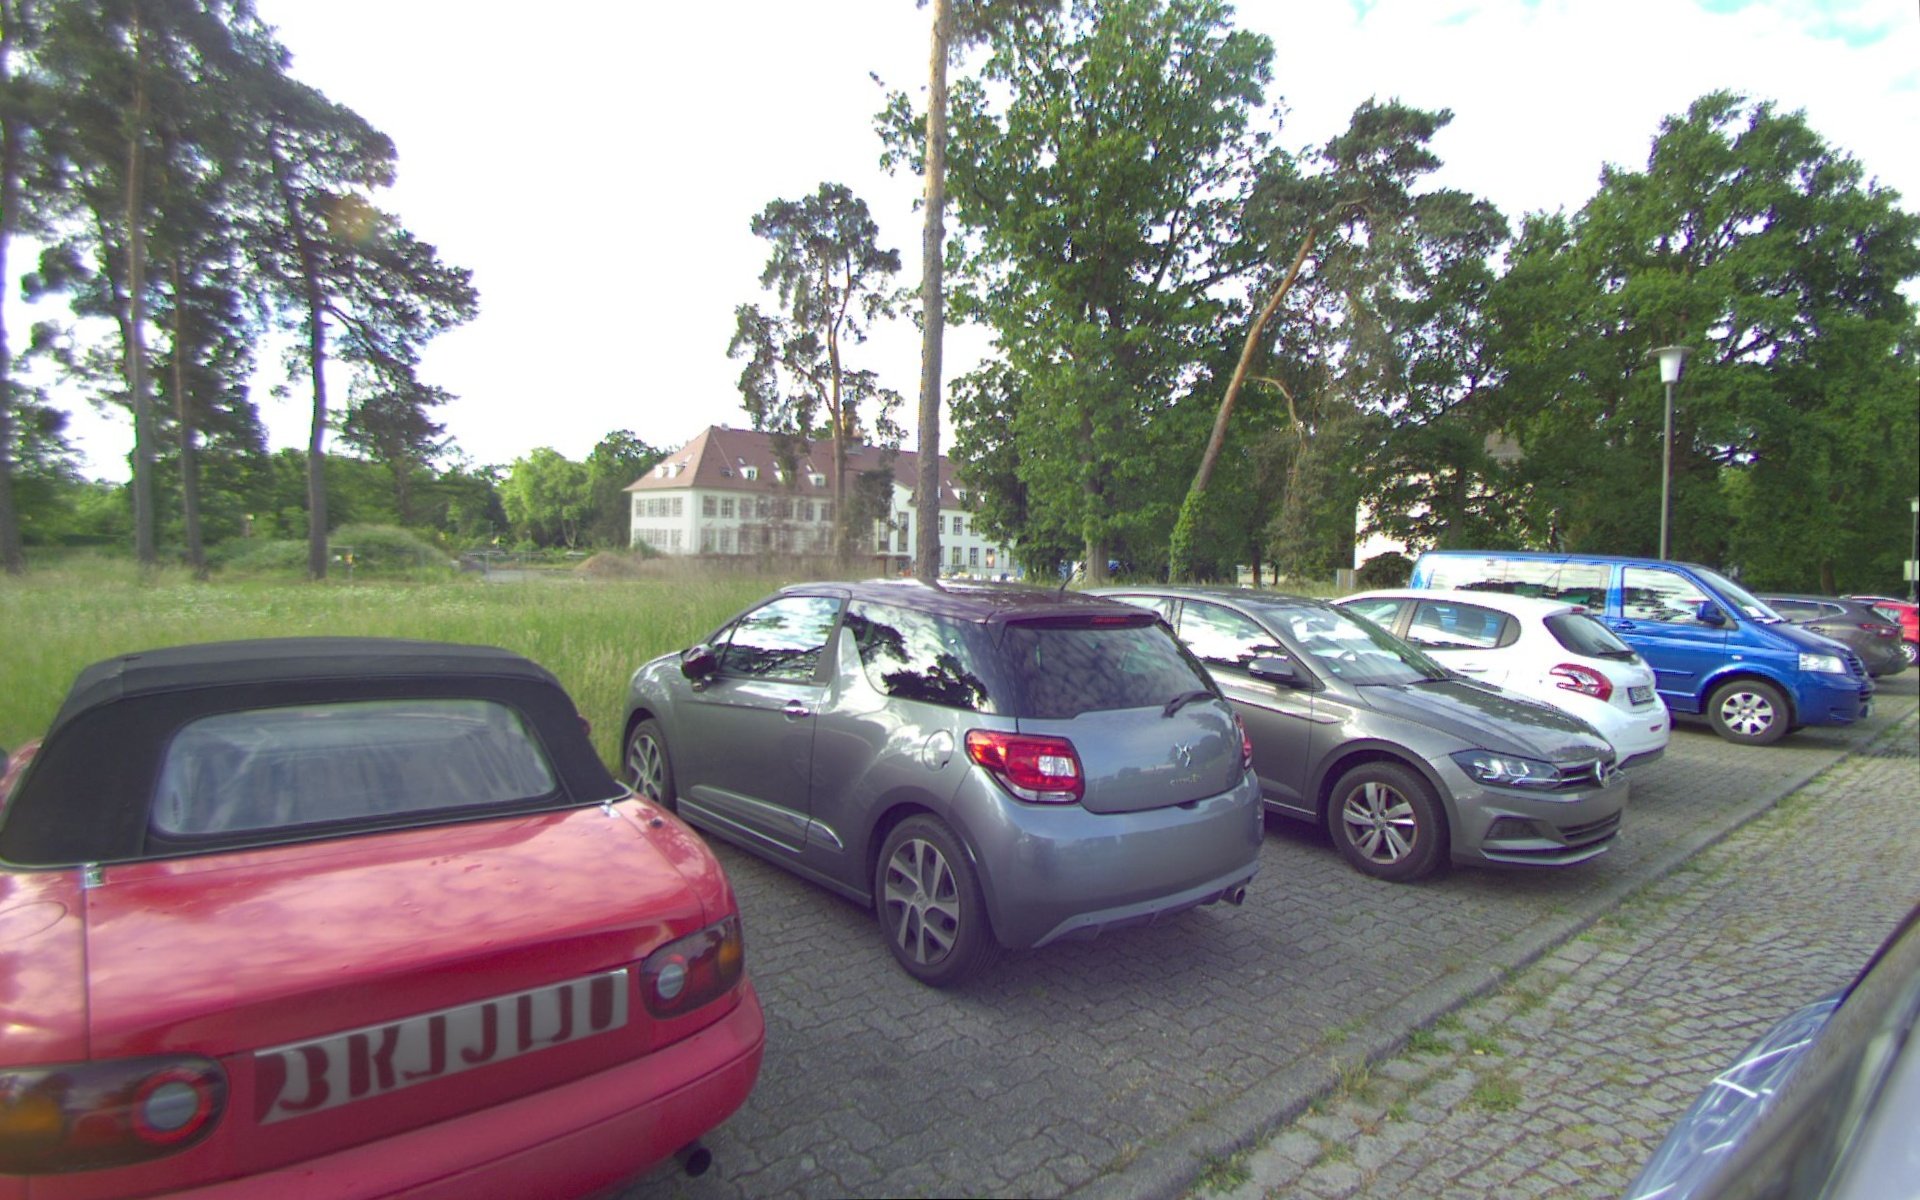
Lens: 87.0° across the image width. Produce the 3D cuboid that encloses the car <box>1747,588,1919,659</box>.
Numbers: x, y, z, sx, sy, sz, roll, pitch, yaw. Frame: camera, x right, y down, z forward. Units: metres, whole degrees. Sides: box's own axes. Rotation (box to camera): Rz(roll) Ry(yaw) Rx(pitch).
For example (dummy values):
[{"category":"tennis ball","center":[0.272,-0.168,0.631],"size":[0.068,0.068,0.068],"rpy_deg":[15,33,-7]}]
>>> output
[{"category":"car","center":[21.880,0.543,24.856],"size":[1.555,1.543,3.831],"rpy_deg":[0,2,-44]}]

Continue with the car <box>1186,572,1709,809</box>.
[{"category":"car","center":[3.969,0.572,8.773],"size":[1.553,1.517,3.762],"rpy_deg":[0,2,-39]}]

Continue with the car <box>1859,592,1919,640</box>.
[{"category":"car","center":[33.319,0.581,34.406],"size":[1.642,1.548,3.841],"rpy_deg":[0,2,-36]}]

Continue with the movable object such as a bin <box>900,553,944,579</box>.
[{"category":"movable object such as a bin","center":[-4.346,-3.897,116.152],"size":[1.994,2.802,5.122],"rpy_deg":[3,2,44]}]

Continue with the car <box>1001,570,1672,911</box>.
[{"category":"car","center":[2.125,0.598,6.587],"size":[1.613,1.483,3.782],"rpy_deg":[0,2,-39]}]

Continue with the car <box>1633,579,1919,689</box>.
[{"category":"car","center":[14.381,0.511,17.917],"size":[1.555,1.621,3.831],"rpy_deg":[0,2,-44]}]

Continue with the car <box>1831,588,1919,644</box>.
[{"category":"car","center":[29.742,0.511,31.390],"size":[1.551,1.638,3.841],"rpy_deg":[0,2,-36]}]

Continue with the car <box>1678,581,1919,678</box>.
[{"category":"car","center":[16.477,0.500,19.884],"size":[1.555,1.621,3.627],"rpy_deg":[0,2,-44]}]

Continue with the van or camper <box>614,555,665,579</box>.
[{"category":"van or camper","center":[-31.246,-3.220,98.593],"size":[6.062,2.250,1.969],"rpy_deg":[3,2,43]}]

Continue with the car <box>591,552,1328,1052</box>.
[{"category":"car","center":[-0.348,0.556,5.096],"size":[1.576,1.522,3.836],"rpy_deg":[0,2,-41]}]

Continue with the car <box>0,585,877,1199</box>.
[{"category":"car","center":[-1.900,0.670,3.109],"size":[1.579,1.302,3.556],"rpy_deg":[-1,3,-38]}]

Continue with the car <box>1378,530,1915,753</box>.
[{"category":"car","center":[8.005,0.269,12.307],"size":[2.024,2.047,4.955],"rpy_deg":[0,4,-40]}]
